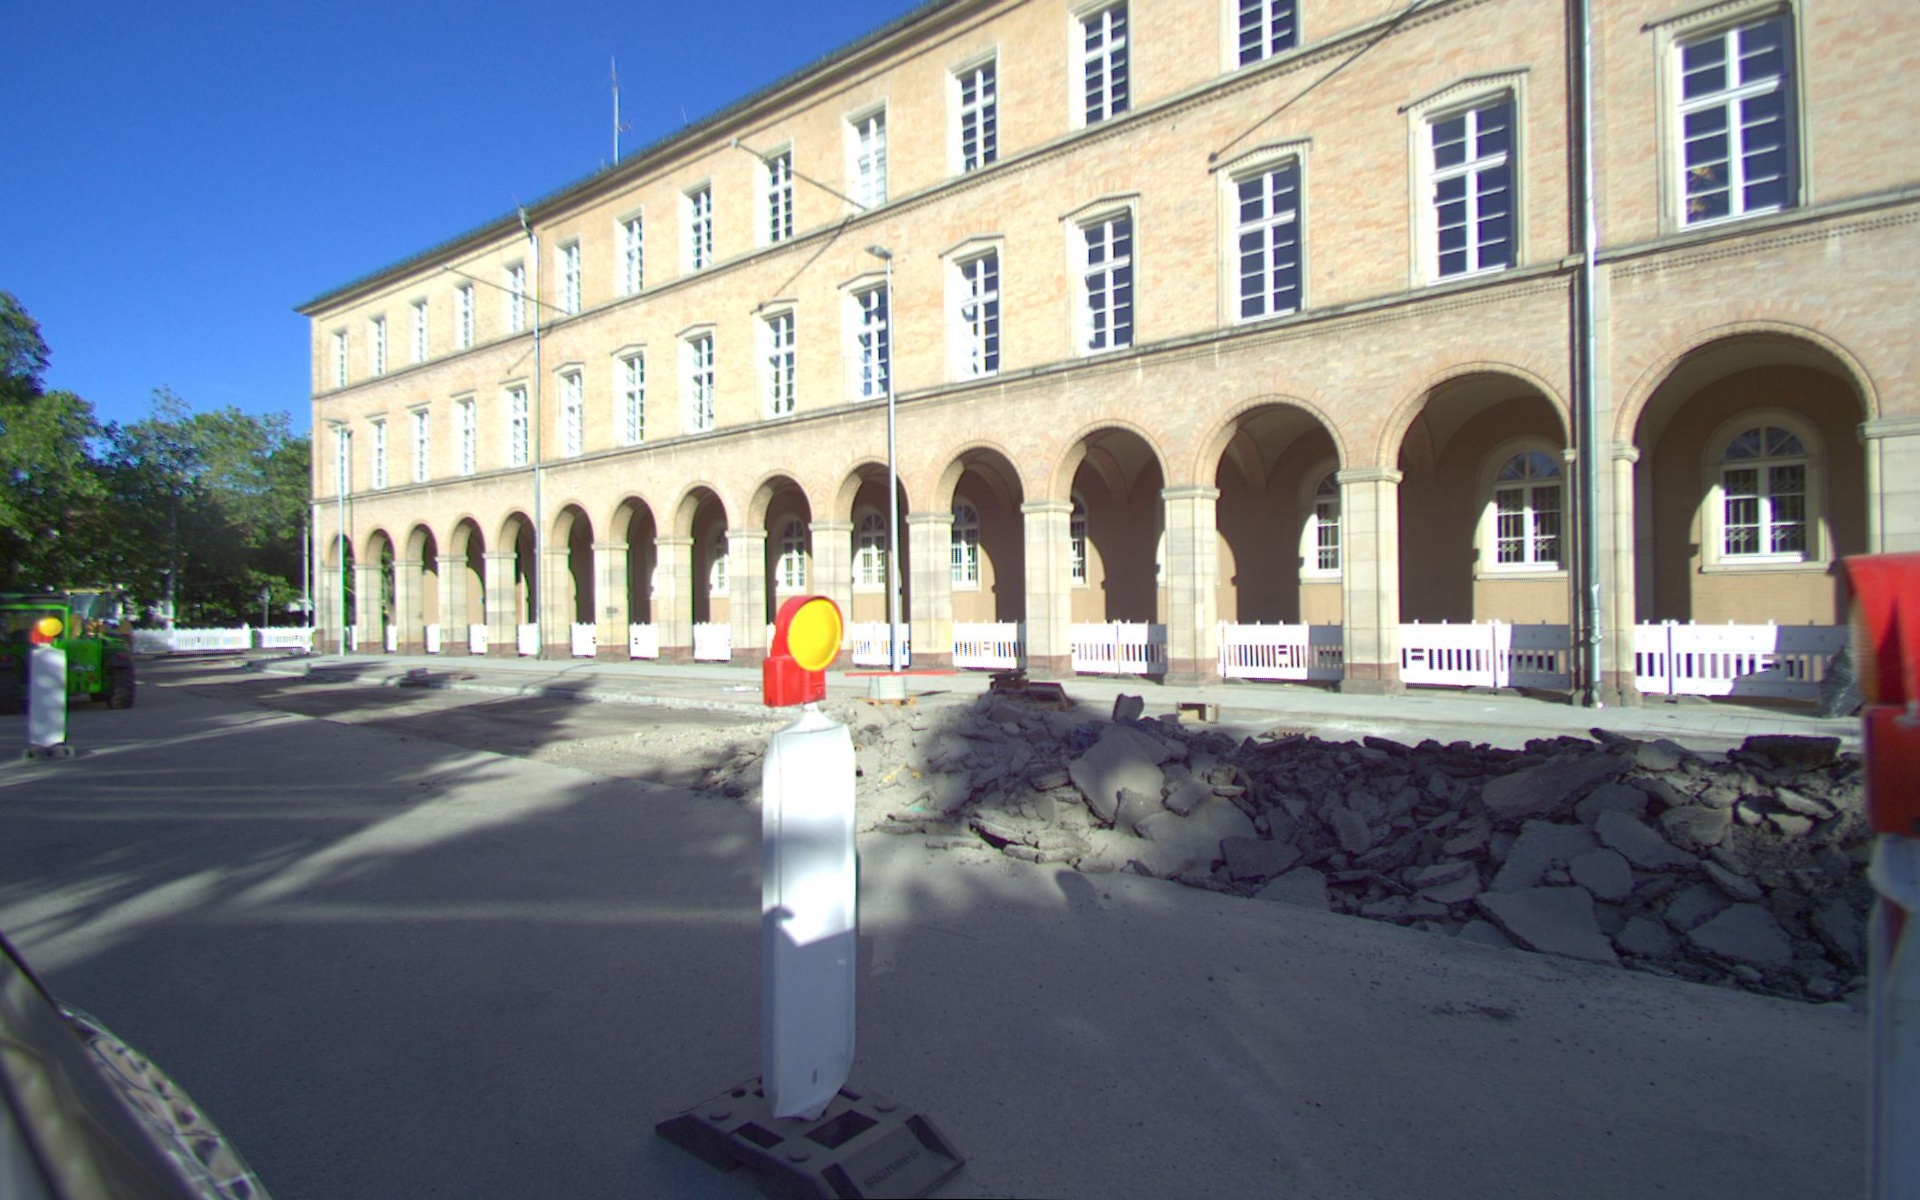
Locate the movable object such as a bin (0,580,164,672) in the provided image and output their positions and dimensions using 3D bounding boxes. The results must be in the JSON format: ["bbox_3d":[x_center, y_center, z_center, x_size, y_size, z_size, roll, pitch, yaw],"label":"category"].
[{"bbox_3d":[-31.864,0.898,36.743,2.523,3.054,5.948,0,-1,-15],"label":"movable object such as a bin"}]

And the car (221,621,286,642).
[{"bbox_3d":[-55.833,2.473,80.090,1.547,1.638,3.958,-3,-3,31],"label":"car"}]

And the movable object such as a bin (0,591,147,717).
[{"bbox_3d":[-15.918,0.925,17.808,4.336,1.964,2.027,-3,-2,44],"label":"movable object such as a bin"}]

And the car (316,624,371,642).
[{"bbox_3d":[-57.007,3.035,93.612,1.917,1.638,3.958,-3,-3,31],"label":"car"}]
